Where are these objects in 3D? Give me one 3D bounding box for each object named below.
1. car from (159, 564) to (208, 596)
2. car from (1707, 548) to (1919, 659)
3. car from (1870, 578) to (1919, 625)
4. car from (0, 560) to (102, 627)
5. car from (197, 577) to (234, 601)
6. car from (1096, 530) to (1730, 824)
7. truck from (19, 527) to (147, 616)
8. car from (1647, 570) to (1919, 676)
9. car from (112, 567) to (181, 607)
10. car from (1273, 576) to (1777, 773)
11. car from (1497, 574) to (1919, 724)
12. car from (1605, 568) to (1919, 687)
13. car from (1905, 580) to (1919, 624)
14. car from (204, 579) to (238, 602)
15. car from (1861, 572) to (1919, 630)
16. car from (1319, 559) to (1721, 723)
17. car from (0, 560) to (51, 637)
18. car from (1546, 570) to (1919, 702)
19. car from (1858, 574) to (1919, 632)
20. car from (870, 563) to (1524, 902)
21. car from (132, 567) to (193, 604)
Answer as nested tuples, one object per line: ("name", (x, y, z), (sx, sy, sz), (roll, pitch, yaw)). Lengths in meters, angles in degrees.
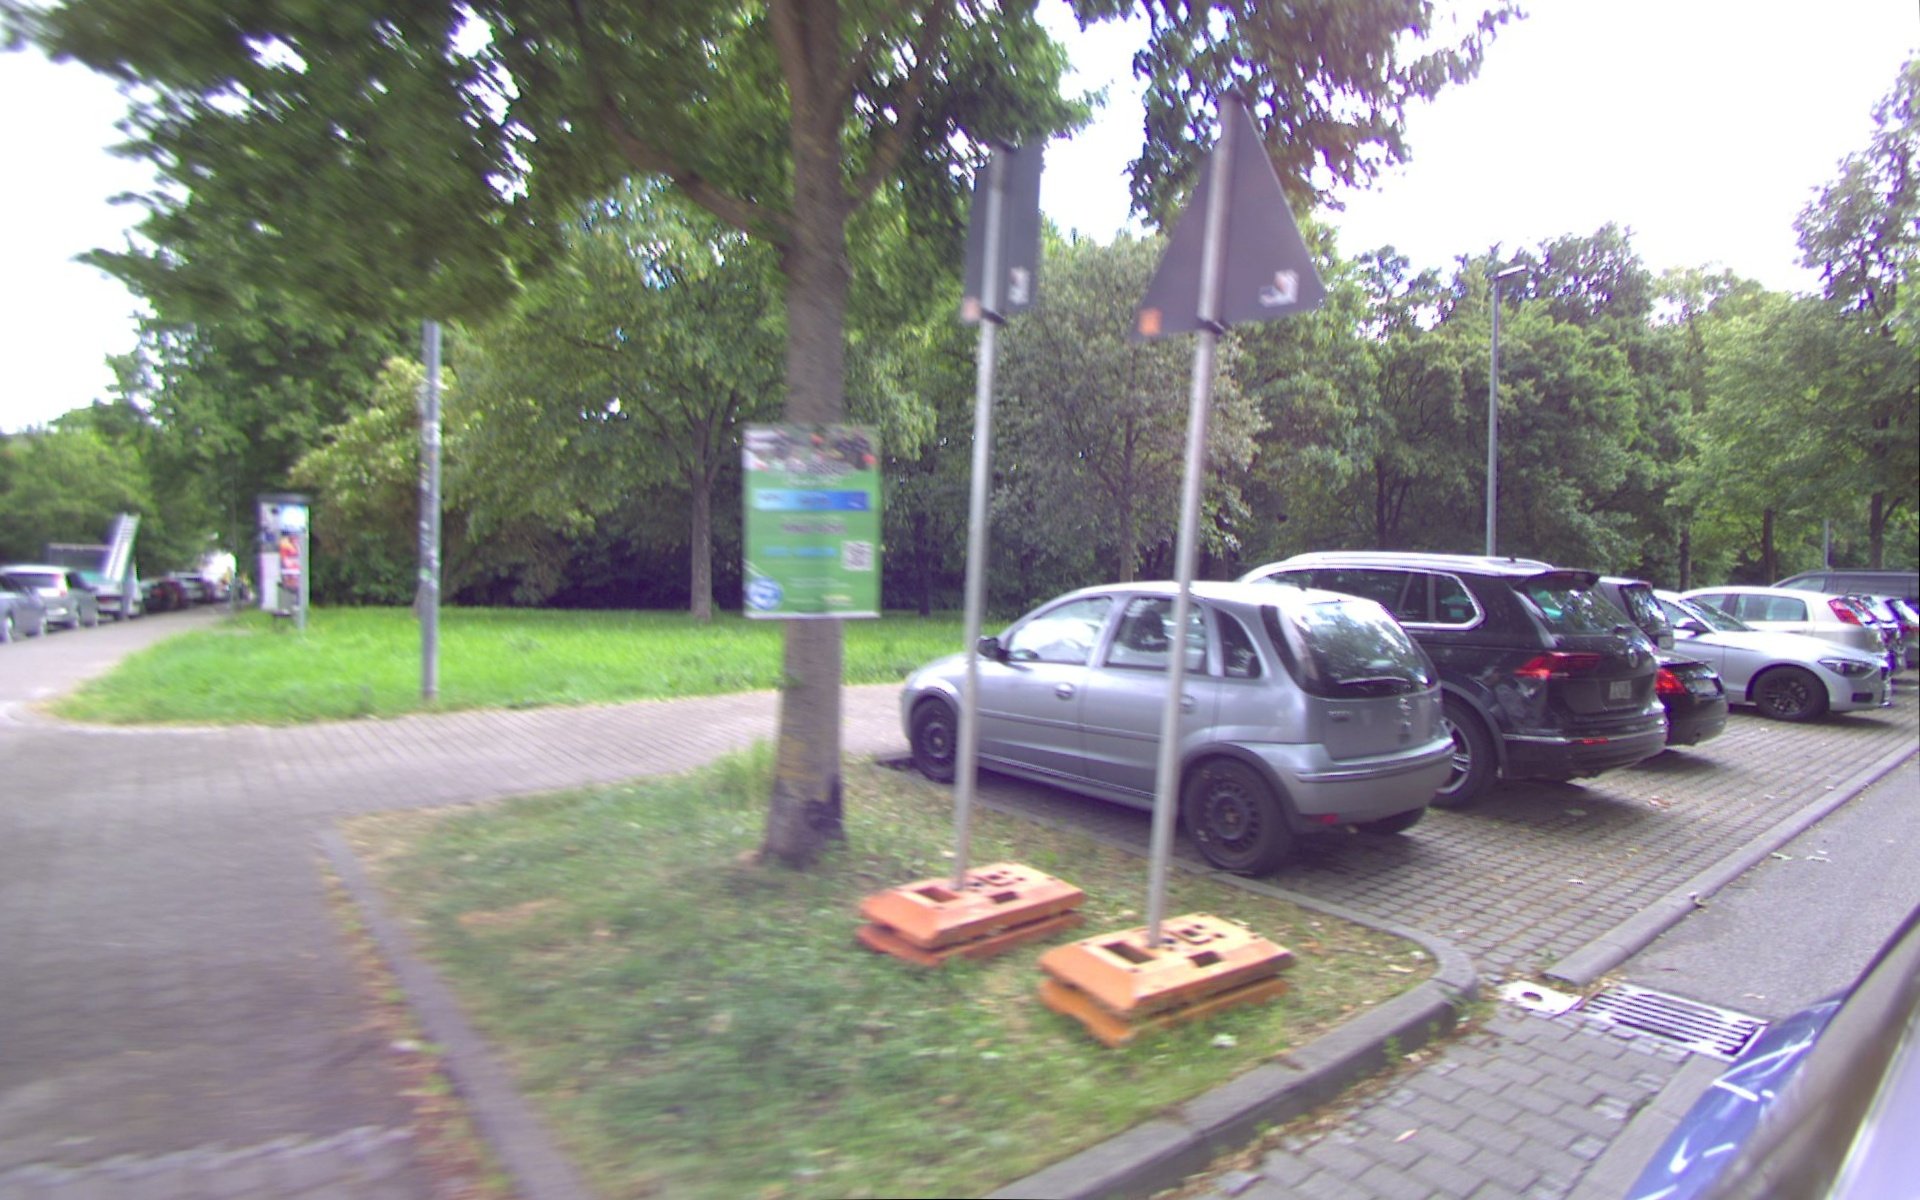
("car", (-41.349, -1.087, 53.933), (1.670, 1.650, 4.300), (-1, 2, -32))
("car", (18.734, 0.043, 20.825), (2.126, 2.038, 4.969), (0, 4, -38))
("car", (34.093, 0.137, 34.202), (1.946, 1.536, 4.651), (1, 3, -37))
("car", (-22.990, -0.201, 25.357), (1.670, 1.545, 4.300), (-1, 2, -32))
("car", (-49.984, -0.752, 68.022), (1.670, 1.545, 4.300), (-1, 2, -32))
("car", (3.220, 0.319, 7.995), (1.943, 1.670, 4.138), (-1, 3, -35))
("truck", (-26.595, -0.877, 30.897), (2.150, 2.456, 5.528), (0, 2, -33))
("car", (14.756, 0.323, 17.849), (1.761, 1.529, 3.973), (0, 4, -38))
("car", (-32.641, -0.563, 40.695), (1.670, 1.545, 4.300), (-1, 2, -32))
("car", (5.199, 0.520, 9.791), (1.788, 1.375, 3.846), (-1, 3, -35))
("car", (9.301, 0.465, 12.794), (1.901, 1.447, 3.997), (-1, 4, -39))
("car", (13.014, 0.337, 16.353), (1.730, 1.529, 3.974), (0, 4, -37))
("car", (36.367, 0.151, 35.830), (1.820, 1.535, 4.078), (-1, 3, -43))
("car", (-52.812, -0.704, 72.411), (1.670, 1.545, 4.300), (-1, 2, -32))
("car", (30.414, 0.106, 30.594), (2.045, 1.696, 4.426), (0, 3, -39))
("car", (6.587, 0.339, 12.245), (1.787, 1.577, 3.842), (-1, 4, -39))
("car", (-19.594, -0.071, 20.001), (1.670, 1.445, 4.446), (-1, 2, -32))
("car", (11.108, 0.386, 14.801), (1.778, 1.546, 3.998), (-1, 3, -38))
("car", (28.340, 0.127, 29.171), (1.764, 1.593, 3.388), (0, 3, -39))
("car", (1.219, 0.520, 6.566), (1.818, 1.420, 3.844), (-1, 3, -37))
("car", (-35.401, -0.674, 45.014), (1.670, 1.545, 4.300), (-1, 2, -32))
